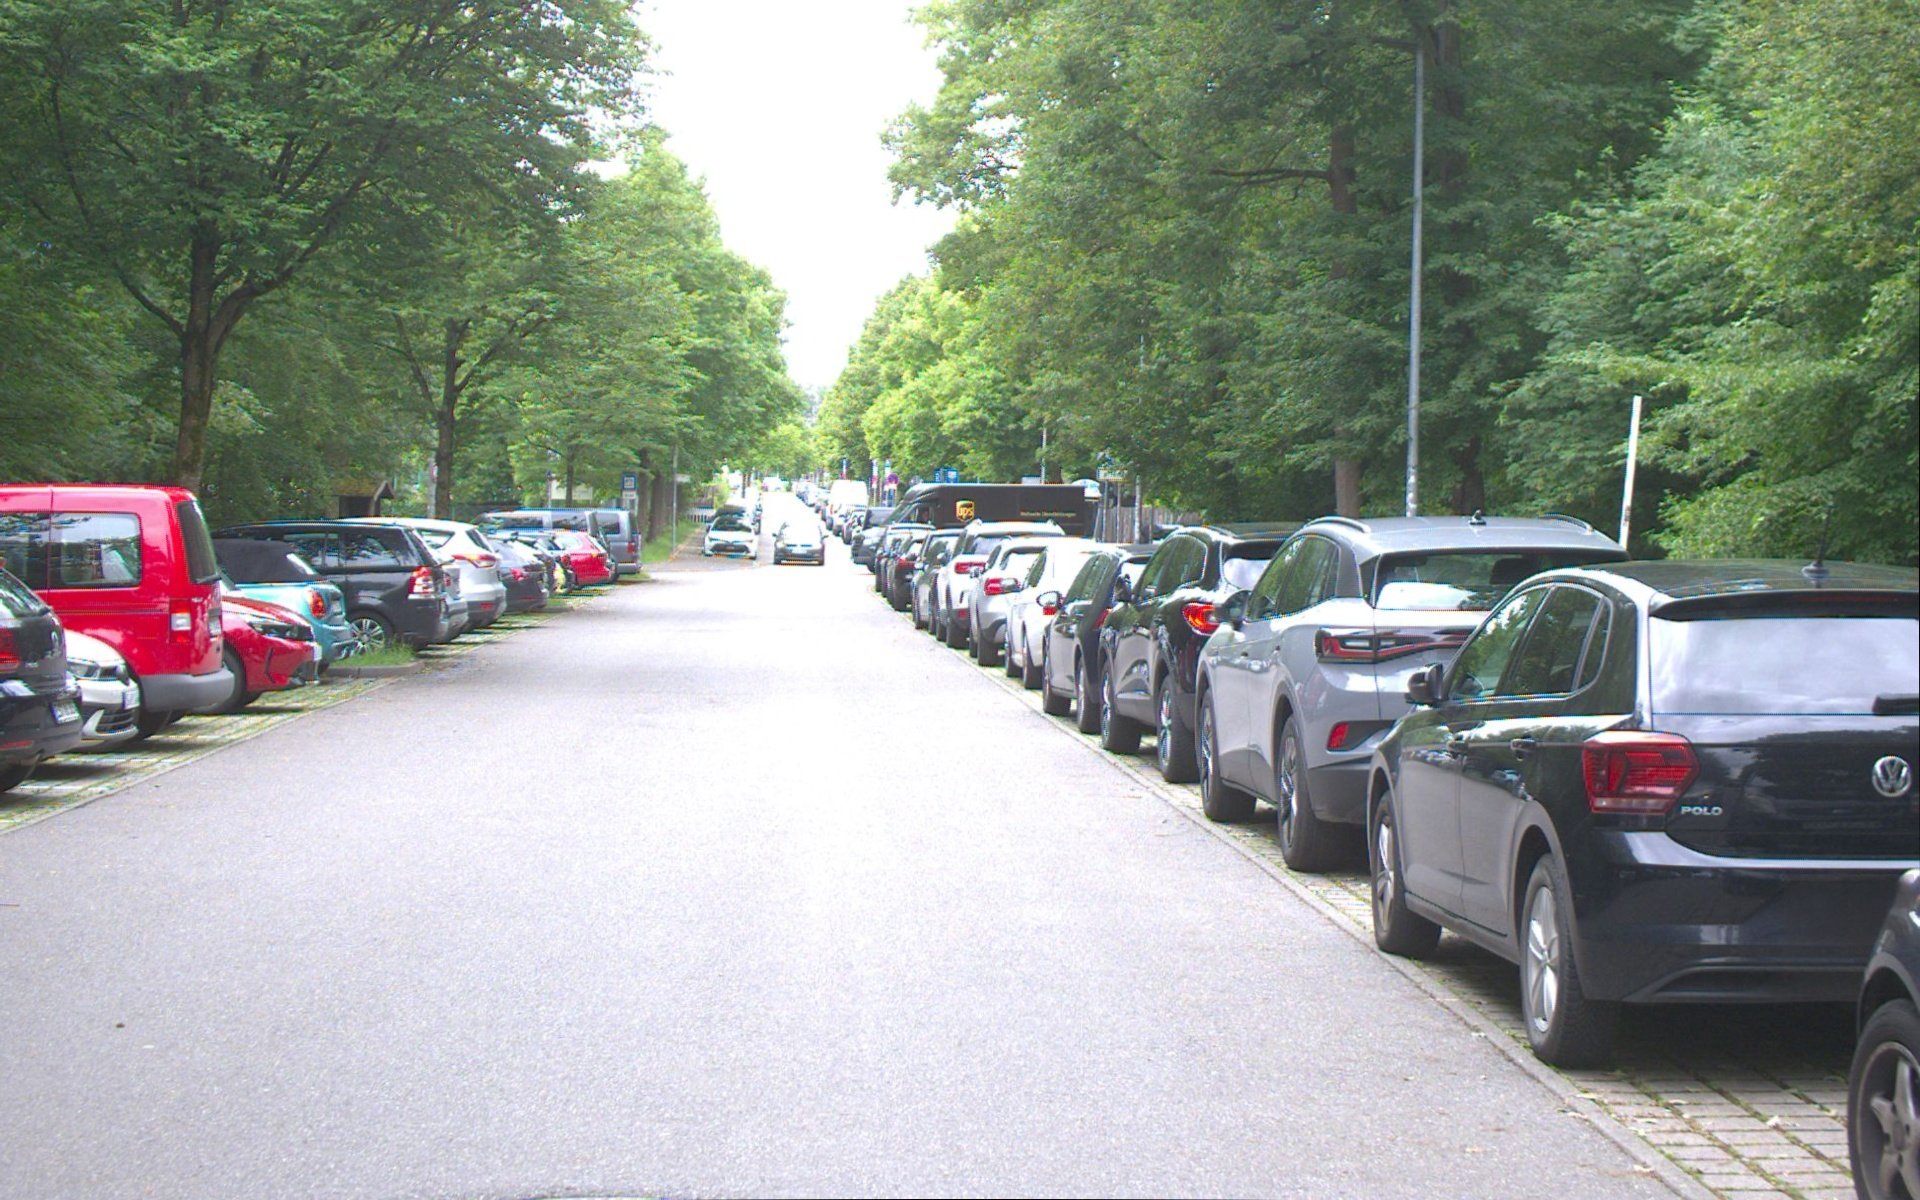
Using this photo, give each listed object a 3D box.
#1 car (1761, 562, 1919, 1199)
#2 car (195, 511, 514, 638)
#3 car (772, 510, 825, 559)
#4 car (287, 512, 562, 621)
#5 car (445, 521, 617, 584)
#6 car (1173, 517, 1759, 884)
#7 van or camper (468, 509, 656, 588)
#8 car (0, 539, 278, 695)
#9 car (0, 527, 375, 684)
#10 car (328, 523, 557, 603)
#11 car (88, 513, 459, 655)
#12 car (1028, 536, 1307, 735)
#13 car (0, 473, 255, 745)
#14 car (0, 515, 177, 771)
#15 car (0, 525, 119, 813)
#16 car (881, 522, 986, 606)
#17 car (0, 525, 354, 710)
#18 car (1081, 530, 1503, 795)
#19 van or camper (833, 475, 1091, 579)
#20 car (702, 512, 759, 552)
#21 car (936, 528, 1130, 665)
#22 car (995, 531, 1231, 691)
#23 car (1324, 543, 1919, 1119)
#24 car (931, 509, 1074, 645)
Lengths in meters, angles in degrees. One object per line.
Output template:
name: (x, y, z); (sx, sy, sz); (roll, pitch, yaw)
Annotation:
car: (2.758, 0.724, 6.035); (1.598, 1.499, 4.090); (1, 1, -2)
car: (-8.078, -0.348, 46.124); (3.987, 1.634, 1.735); (1, 1, -1)
car: (-5.370, -2.193, 114.205); (1.690, 1.410, 3.154); (2, 4, -3)
car: (-8.299, -0.535, 53.542); (3.987, 1.634, 2.009); (1, 1, -1)
car: (-9.536, -1.050, 76.258); (3.576, 1.356, 1.829); (0, 1, -14)
car: (2.296, 0.375, 16.919); (1.978, 1.532, 4.622); (1, 1, -3)
van or camper: (-10.210, -1.320, 88.092); (4.472, 1.861, 1.920); (1, 4, -16)
car: (-8.354, 0.135, 31.737); (3.746, 1.364, 1.936); (1, 1, -1)
car: (-7.925, 0.031, 33.956); (3.987, 1.469, 1.847); (1, 1, -1)
car: (-9.281, -0.665, 61.698); (3.986, 1.377, 2.001); (0, 1, -9)
car: (-7.695, -0.195, 38.802); (3.832, 1.531, 1.871); (1, 1, -1)
car: (1.590, 0.231, 27.607); (1.666, 1.439, 3.815); (1, 1, -5)
car: (-7.082, 0.030, 24.027); (3.986, 1.810, 2.115); (0, 1, -5)
car: (-7.094, 0.222, 21.482); (3.986, 1.525, 2.000); (1, 1, -2)
car: (-6.836, 0.334, 19.044); (3.986, 1.525, 2.000); (0, 1, -6)
car: (-0.531, -0.710, 65.662); (1.921, 1.515, 3.887); (1, 1, -1)
car: (-7.258, 0.115, 28.876); (3.986, 1.469, 2.115); (1, 1, -2)
car: (2.055, 0.335, 22.553); (1.978, 1.532, 4.167); (1, 1, -5)
van or camper: (0.051, -2.222, 104.671); (7.321, 2.879, 2.651); (1, 4, -16)
car: (-7.862, -2.351, 117.819); (1.739, 1.158, 3.411); (1, 4, 0)
car: (0.808, -0.078, 40.442); (1.721, 1.489, 3.775); (1, 1, -7)
car: (1.475, 0.065, 34.565); (1.937, 1.470, 3.993); (1, 1, -3)
car: (2.352, 0.578, 11.068); (1.636, 1.472, 4.152); (1, 1, -4)
car: (0.528, -0.344, 46.225); (1.710, 1.722, 4.001); (1, 1, -2)
